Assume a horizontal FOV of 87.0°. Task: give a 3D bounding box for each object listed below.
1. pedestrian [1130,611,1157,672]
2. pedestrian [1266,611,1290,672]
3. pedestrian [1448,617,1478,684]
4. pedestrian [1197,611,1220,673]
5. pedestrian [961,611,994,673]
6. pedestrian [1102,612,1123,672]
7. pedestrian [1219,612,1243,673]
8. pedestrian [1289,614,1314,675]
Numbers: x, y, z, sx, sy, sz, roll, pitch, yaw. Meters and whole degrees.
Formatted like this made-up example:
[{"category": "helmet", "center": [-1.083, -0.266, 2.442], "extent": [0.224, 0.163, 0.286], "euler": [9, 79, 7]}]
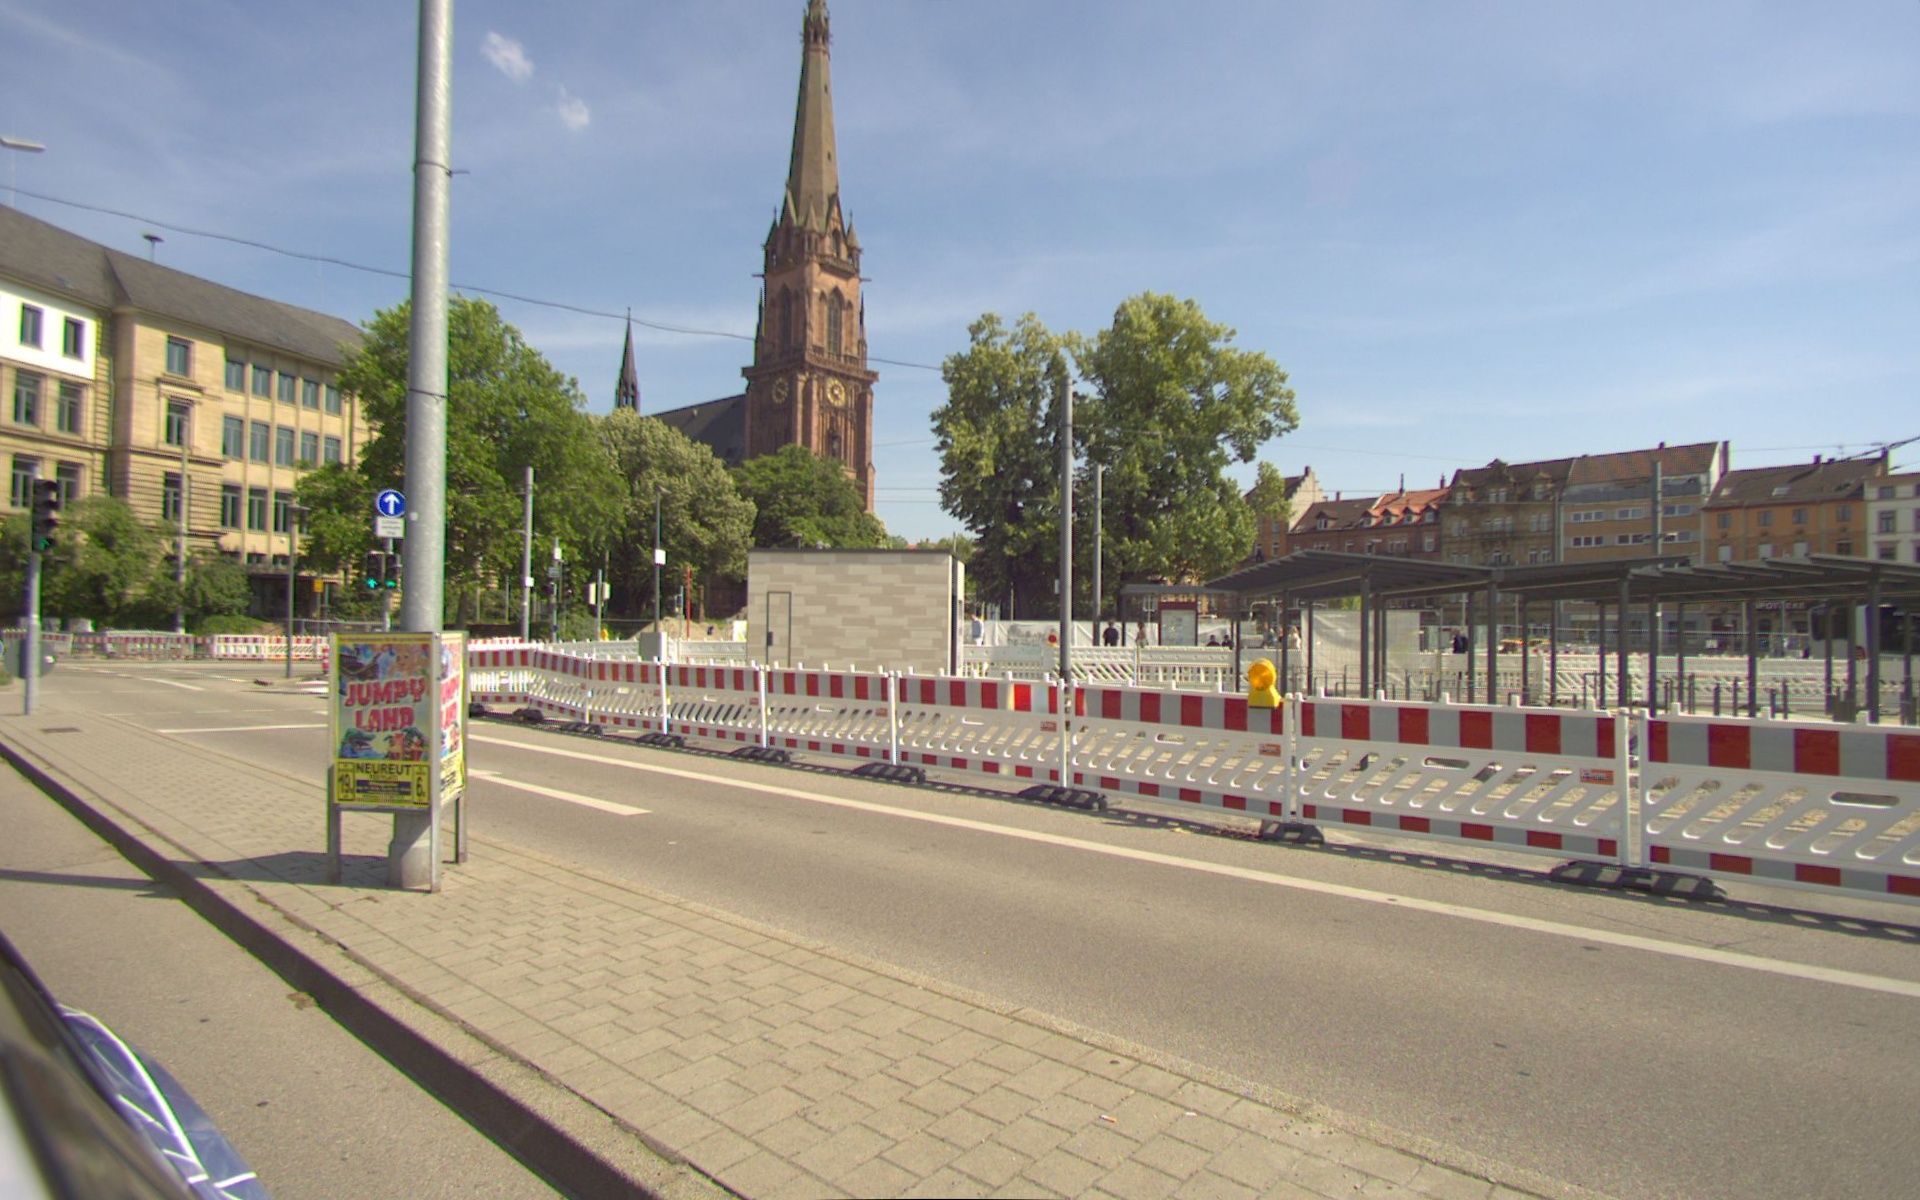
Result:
[{"category": "pedestrian", "center": [6.241, 1.400, 34.447], "extent": [0.810, 2.029, 0.685], "euler": [1, -2, 6]}, {"category": "pedestrian", "center": [10.837, 1.405, 34.479], "extent": [0.679, 2.029, 0.818], "euler": [0, -2, 11]}, {"category": "pedestrian", "center": [15.729, 1.574, 31.660], "extent": [0.680, 2.029, 0.816], "euler": [0, -2, 16]}, {"category": "pedestrian", "center": [8.342, 1.399, 33.963], "extent": [0.679, 2.029, 0.818], "euler": [0, -2, 11]}, {"category": "pedestrian", "center": [0.578, 1.375, 33.191], "extent": [0.686, 2.029, 0.809], "euler": [-1, -3, 43]}, {"category": "pedestrian", "center": [5.231, 1.427, 34.746], "extent": [0.678, 2.029, 0.819], "euler": [0, -2, 7]}, {"category": "pedestrian", "center": [9.079, 1.425, 33.915], "extent": [0.679, 2.029, 0.818], "euler": [0, -2, 11]}, {"category": "pedestrian", "center": [11.664, 1.515, 34.595], "extent": [0.679, 2.029, 0.818], "euler": [0, -2, 11]}]
